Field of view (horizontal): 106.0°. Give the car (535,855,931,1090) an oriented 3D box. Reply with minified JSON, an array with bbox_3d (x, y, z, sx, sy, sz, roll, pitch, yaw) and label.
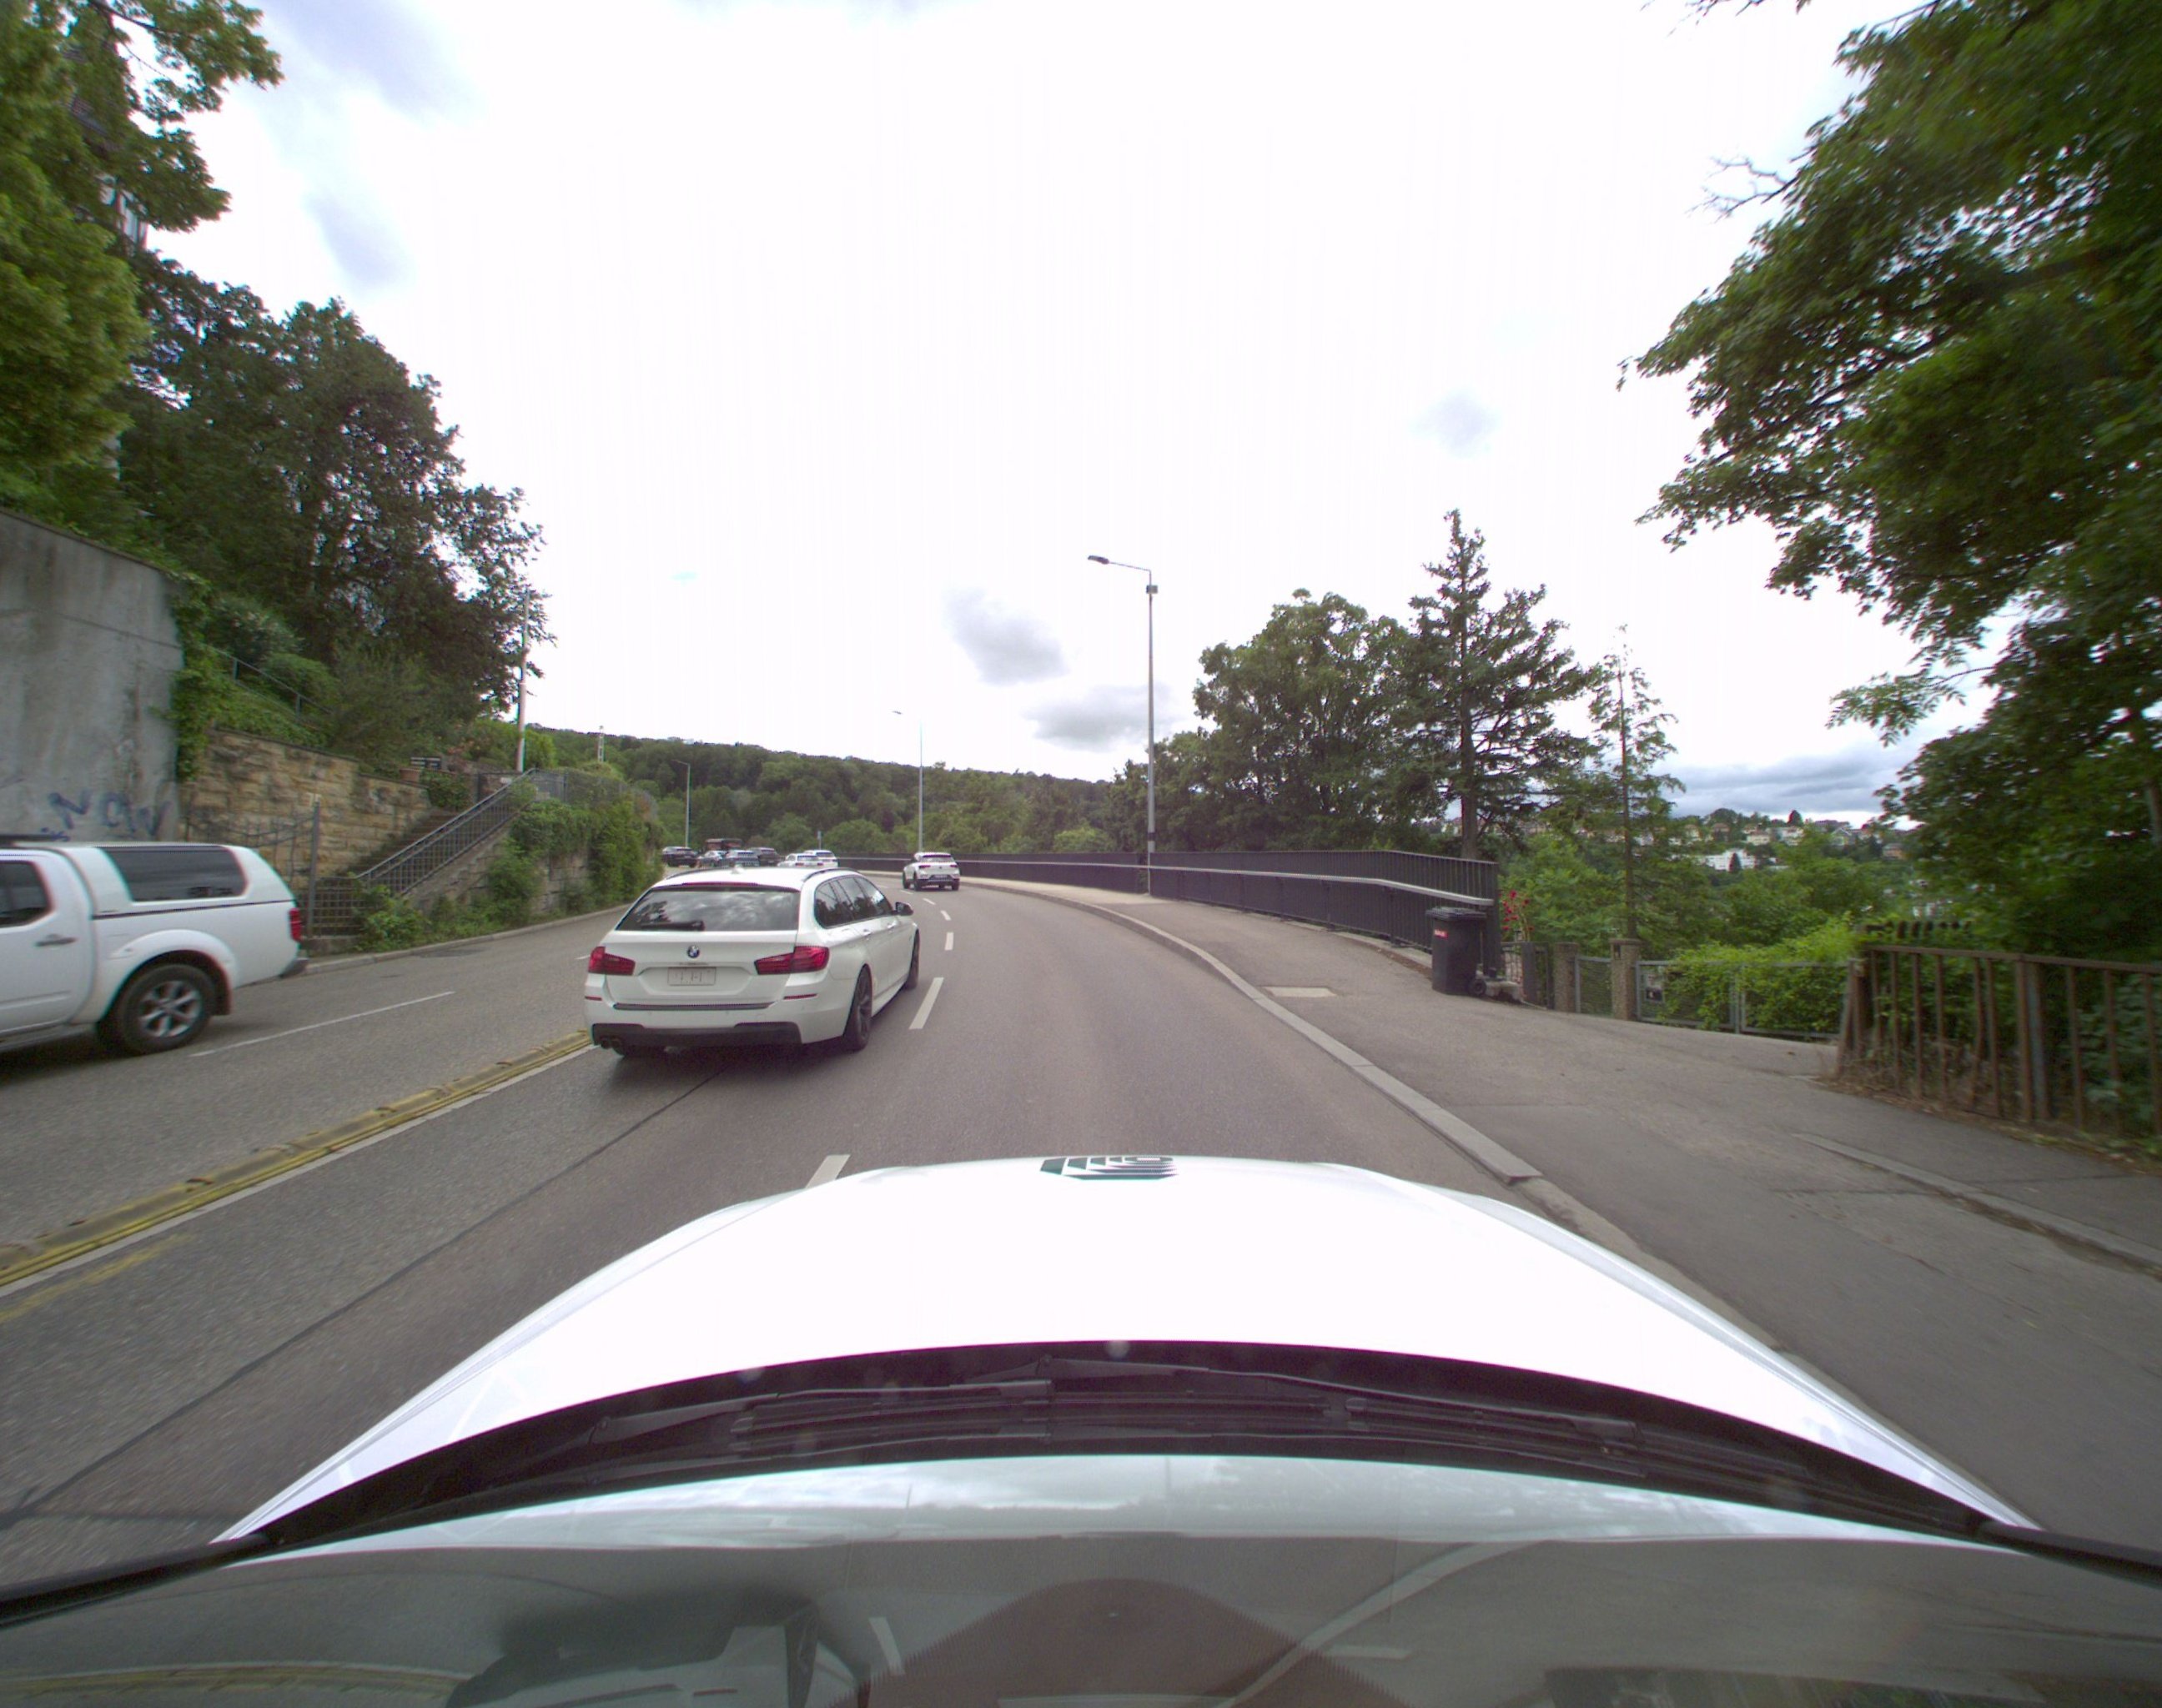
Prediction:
[{"bbox_3d":[-2.698,0.777,7.728,1.843,1.467,4.873,1,0,-3],"label":"car"}]

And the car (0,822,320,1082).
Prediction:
[{"bbox_3d":[-8.569,0.713,5.602,1.907,1.828,5.299,-1,0,-4],"label":"car"}]

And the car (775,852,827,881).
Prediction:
[{"bbox_3d":[-16.382,0.682,47.587,1.920,1.574,3.958,1,0,-34],"label":"car"}]

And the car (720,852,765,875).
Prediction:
[{"bbox_3d":[-24.054,0.680,57.868,2.009,1.541,3.965,1,0,-37],"label":"car"}]

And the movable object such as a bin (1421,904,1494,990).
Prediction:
[{"bbox_3d":[4.096,1.000,8.880,0.519,0.881,0.531,1,0,-5],"label":"movable object such as a bin"}]

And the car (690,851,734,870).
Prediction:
[{"bbox_3d":[-30.536,0.516,67.422,3.490,1.525,1.710,1,0,33],"label":"car"}]

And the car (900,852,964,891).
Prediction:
[{"bbox_3d":[-6.298,0.715,34.088,1.875,1.536,3.774,0,-1,-23],"label":"car"}]

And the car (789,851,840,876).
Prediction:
[{"bbox_3d":[-17.668,0.609,53.920,2.009,1.586,3.955,1,0,-38],"label":"car"}]

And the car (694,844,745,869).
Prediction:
[{"bbox_3d":[-32.825,0.188,73.877,4.671,2.193,2.095,1,0,35],"label":"car"}]

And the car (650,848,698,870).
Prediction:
[{"bbox_3d":[-33.066,0.413,66.099,3.948,1.689,1.833,1,0,36],"label":"car"}]
